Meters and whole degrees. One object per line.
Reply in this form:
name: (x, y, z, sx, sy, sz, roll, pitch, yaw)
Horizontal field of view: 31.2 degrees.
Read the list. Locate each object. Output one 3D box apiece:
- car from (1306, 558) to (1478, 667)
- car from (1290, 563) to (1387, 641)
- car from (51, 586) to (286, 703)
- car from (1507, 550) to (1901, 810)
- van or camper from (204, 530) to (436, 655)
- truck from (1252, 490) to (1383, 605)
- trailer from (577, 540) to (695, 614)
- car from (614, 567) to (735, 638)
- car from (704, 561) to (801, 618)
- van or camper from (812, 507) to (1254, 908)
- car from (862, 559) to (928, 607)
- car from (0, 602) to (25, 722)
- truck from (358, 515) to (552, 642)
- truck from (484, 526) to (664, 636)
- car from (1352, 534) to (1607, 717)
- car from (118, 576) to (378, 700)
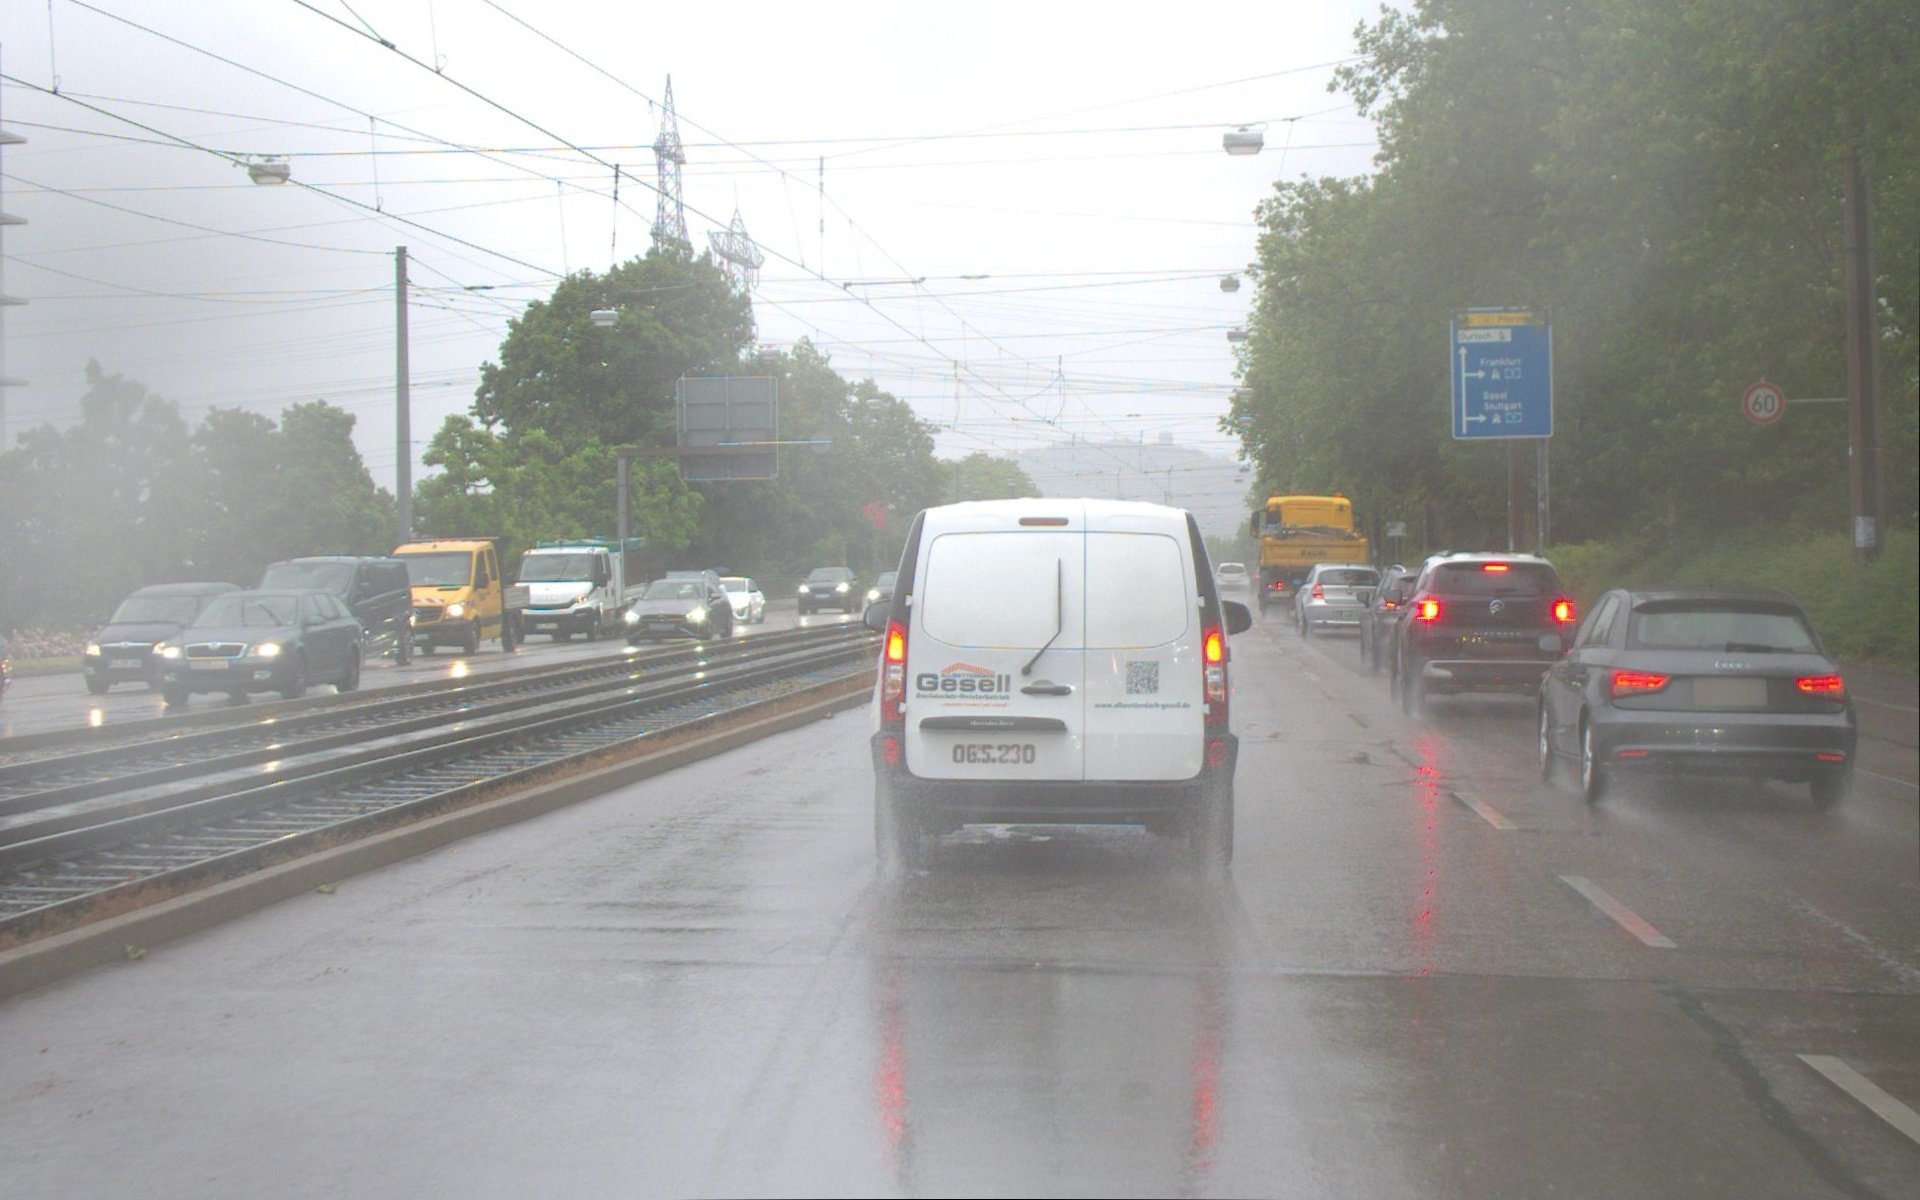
car: (6.049, 0.145, 48.519, 1.818, 1.409, 3.779, 0, 1, -2)
car: (7.331, 0.012, 66.788, 1.818, 1.409, 3.778, 1, 1, 6)
car: (-11.863, 0.635, 51.848, 1.858, 1.612, 4.906, -2, 0, 7)
car: (4.854, 0.458, 22.971, 1.968, 1.523, 3.991, 0, 1, 3)
van or camper: (-11.043, -0.156, 59.828, 2.305, 2.007, 5.684, 1, 1, 7)
truck: (8.868, -1.320, 85.929, 3.113, 2.764, 6.328, 0, 1, 5)
trailer: (-8.206, -0.590, 87.395, 2.120, 1.786, 3.835, 1, 1, 8)
car: (-6.293, 0.042, 76.293, 1.858, 1.489, 4.689, -2, 0, 5)
car: (-6.203, -0.345, 103.332, 1.994, 1.578, 4.765, -2, 1, 7)
van or camper: (0.415, 0.434, 17.718, 1.994, 1.778, 4.000, 1, 2, 2)
car: (-2.239, -0.617, 119.841, 1.819, 1.617, 4.535, -1, 1, 5)
car: (-13.231, 0.836, 41.862, 1.964, 1.511, 4.553, -2, 0, 6)
truck: (-10.292, -0.454, 70.608, 2.228, 2.453, 6.065, 1, 1, 8)
truck: (-9.056, -0.470, 81.498, 2.436, 2.449, 7.216, 1, 1, 8)
car: (5.255, 0.200, 35.338, 1.899, 1.711, 4.726, 0, 1, 0)
car: (-9.242, 0.465, 45.050, 1.994, 1.452, 4.671, -3, 0, 5)
